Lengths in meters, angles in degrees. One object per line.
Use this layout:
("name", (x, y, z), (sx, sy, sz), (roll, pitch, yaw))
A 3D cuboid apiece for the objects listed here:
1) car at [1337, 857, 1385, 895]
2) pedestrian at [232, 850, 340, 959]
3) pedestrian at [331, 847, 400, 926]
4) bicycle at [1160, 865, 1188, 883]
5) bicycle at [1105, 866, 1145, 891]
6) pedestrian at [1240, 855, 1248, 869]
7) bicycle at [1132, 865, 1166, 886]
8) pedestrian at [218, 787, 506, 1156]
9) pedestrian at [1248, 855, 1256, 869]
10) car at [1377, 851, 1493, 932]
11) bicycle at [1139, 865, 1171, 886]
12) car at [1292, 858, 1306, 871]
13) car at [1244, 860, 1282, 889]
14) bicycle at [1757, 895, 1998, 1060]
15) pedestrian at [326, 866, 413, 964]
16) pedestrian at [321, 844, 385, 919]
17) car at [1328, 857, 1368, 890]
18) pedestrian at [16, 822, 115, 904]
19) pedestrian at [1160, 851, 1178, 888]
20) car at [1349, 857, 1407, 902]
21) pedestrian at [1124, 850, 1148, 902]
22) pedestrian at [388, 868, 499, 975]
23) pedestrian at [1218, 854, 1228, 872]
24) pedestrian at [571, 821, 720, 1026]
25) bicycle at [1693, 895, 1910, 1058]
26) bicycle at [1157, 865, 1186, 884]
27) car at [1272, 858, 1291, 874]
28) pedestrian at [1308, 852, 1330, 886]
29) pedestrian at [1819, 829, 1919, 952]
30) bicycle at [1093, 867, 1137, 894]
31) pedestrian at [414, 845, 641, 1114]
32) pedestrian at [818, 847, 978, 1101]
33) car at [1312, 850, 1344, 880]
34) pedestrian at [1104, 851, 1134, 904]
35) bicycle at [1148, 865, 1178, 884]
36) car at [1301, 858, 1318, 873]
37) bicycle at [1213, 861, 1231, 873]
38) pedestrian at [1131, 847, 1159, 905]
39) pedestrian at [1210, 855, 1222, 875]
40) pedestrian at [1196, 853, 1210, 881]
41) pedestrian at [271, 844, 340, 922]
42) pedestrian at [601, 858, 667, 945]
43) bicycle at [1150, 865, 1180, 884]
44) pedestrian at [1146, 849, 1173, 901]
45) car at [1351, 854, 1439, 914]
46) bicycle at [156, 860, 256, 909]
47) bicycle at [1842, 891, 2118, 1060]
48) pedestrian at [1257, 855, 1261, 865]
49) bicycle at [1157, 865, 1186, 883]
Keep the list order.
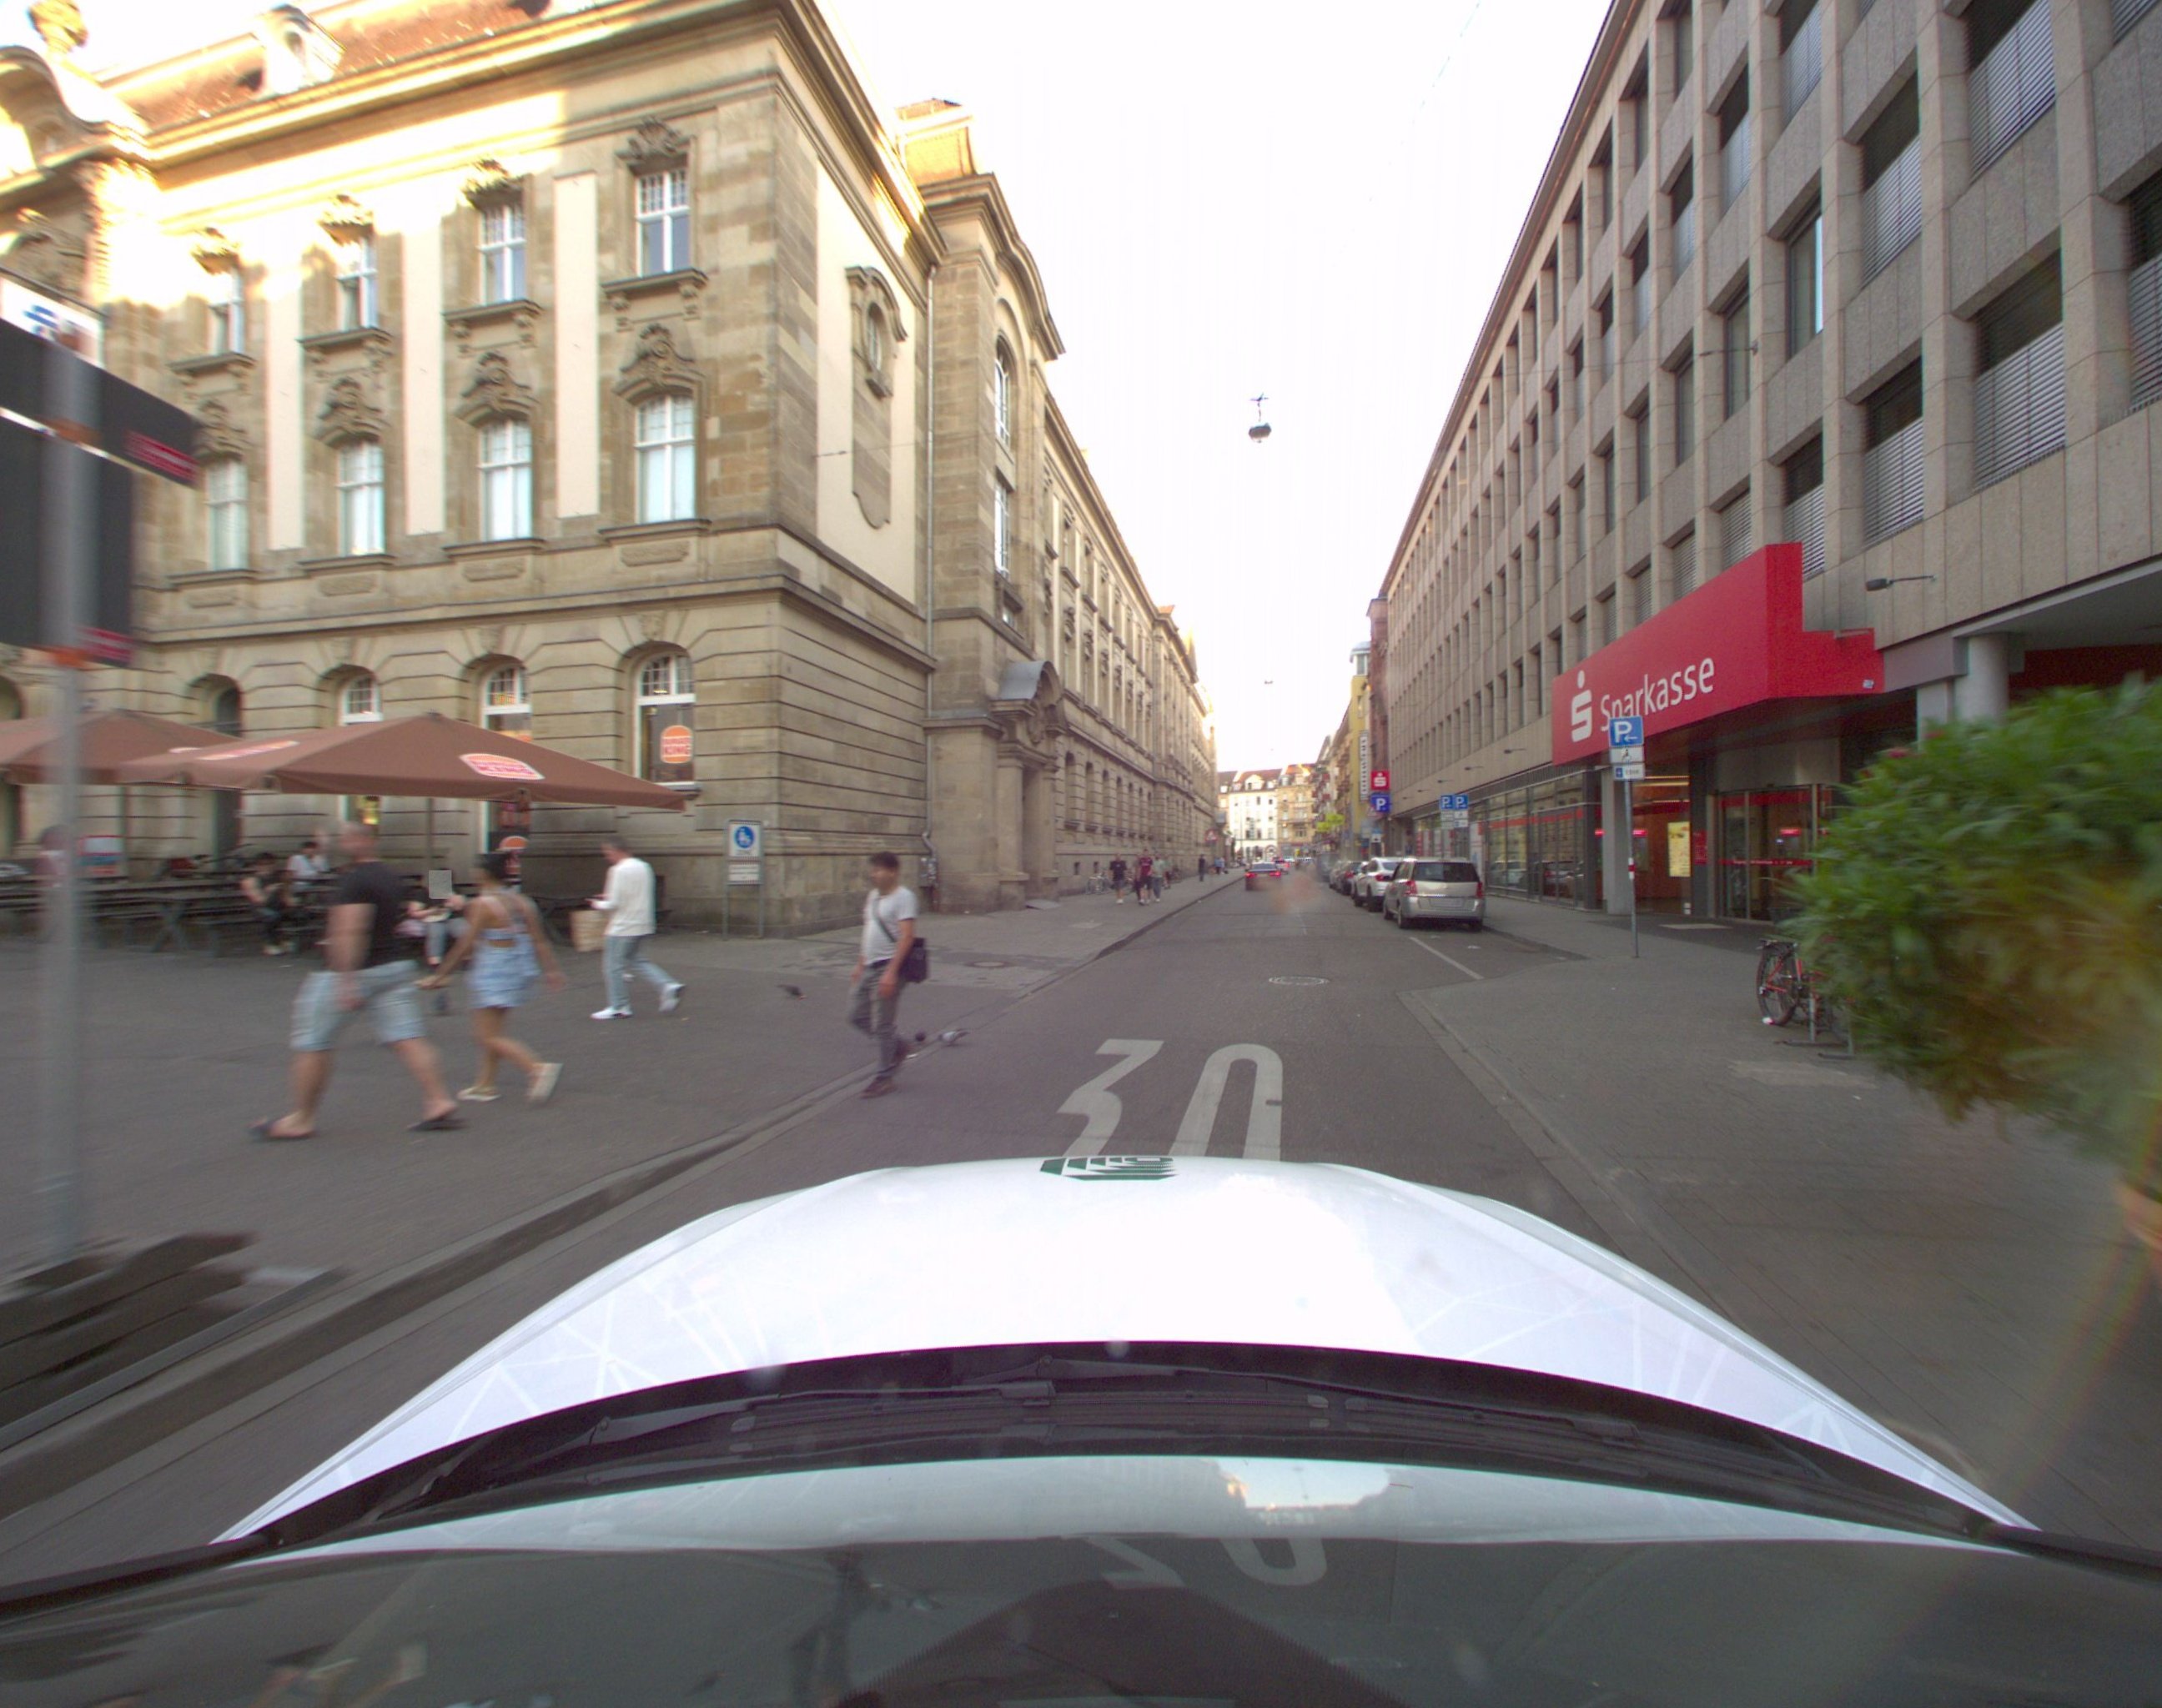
("car", (12.091, 0.926, 35.340), (1.633, 1.523, 3.296), (1, 0, 13))
("pedestrian", (-10.709, 0.661, 10.982), (0.645, 1.383, 0.810), (2, 0, 24))
("pedestrian", (-12.362, 0.544, 14.081), (0.603, 1.309, 0.611), (2, 0, 10))
("bicycle", (5.716, 1.226, 50.089), (1.668, 1.041, 0.489), (1, 0, 12))
("bicycle", (1.903, 1.049, 35.439), (1.676, 1.041, 0.486), (1, 0, -4))
("pedestrian", (21.678, 1.048, 108.482), (0.927, 1.752, 0.812), (3, 0, 10))
("bicycle", (3.531, 1.132, 42.200), (1.668, 1.041, 0.489), (1, 0, 12))
("pedestrian", (-3.976, 0.596, 4.570), (0.865, 1.840, 0.809), (0, -2, 13))
("pedestrian", (22.771, 1.037, 108.659), (0.927, 1.752, 0.812), (3, 0, 10))
("car", (8.131, 0.786, 19.076), (1.757, 1.636, 4.066), (1, 0, 13))
("bicycle", (3.947, 1.145, 43.412), (1.668, 1.041, 0.489), (1, 0, 12))
("car", (27.076, 1.340, 101.118), (1.633, 1.523, 3.296), (1, 0, 13))
("car", (9.410, 1.038, 42.050), (1.757, 1.409, 4.066), (-2, -1, 13))
("bicycle", (6.126, 0.887, 6.401), (0.555, 1.041, 1.691), (-2, -1, 15))
("pedestrian", (-9.403, 0.784, 10.773), (0.692, 1.226, 0.621), (2, -1, 28))
("pedestrian", (-13.237, 0.487, 14.811), (0.576, 1.309, 0.596), (2, 0, 12))
("car", (13.501, 0.957, 41.320), (1.633, 1.523, 3.296), (1, 0, 13))
("pedestrian", (-19.937, 0.173, 16.009), (0.848, 1.566, 0.846), (1, 0, -14))
("pedestrian", (4.294, 0.738, 39.657), (0.714, 1.752, 0.671), (3, 0, 11))
("car", (11.094, 0.909, 30.568), (1.633, 1.523, 3.296), (1, 0, 13))
("pedestrian", (1.917, 0.739, 28.267), (0.684, 1.752, 0.724), (3, 0, 11))
("pedestrian", (-8.024, 0.818, 10.262), (0.818, 1.243, 0.786), (2, 0, 27))
("pedestrian", (13.795, 0.861, 79.194), (0.802, 1.752, 0.939), (3, 0, 12))
("pedestrian", (-4.192, 0.625, 7.898), (0.866, 1.839, 0.869), (2, 0, 8))
("bicycle", (5.629, 0.897, 6.498), (0.555, 1.041, 1.691), (-2, -1, 15))
("bicycle", (5.382, 1.203, 48.364), (1.668, 1.041, 0.489), (1, 0, 12))
("car", (19.642, 1.139, 79.854), (1.782, 1.510, 4.014), (0, 0, 13))
("pedestrian", (12.598, 0.774, 43.082), (0.824, 1.791, 0.720), (-1, -1, -25))
("pedestrian", (11.173, 0.500, 11.569), (0.701, 1.661, 0.694), (-2, -1, -6))
("bicycle", (1.374, 1.058, 32.643), (1.666, 1.041, 0.489), (1, 0, 19))
("pedestrian", (-3.560, 0.750, 5.305), (0.865, 1.582, 0.809), (0, -2, 13))
("pedestrian", (-1.292, 0.794, 5.855), (0.723, 1.646, 0.877), (-1, -2, 23))
("car", (17.412, 0.748, 57.528), (1.857, 2.018, 3.779), (1, 0, 13))
("pedestrian", (1.260, 0.749, 26.866), (0.792, 1.675, 0.978), (3, 0, 11))
("bicycle", (4.716, 1.186, 46.675), (1.668, 1.041, 0.489), (1, 0, 12))
("car", (24.321, 1.228, 86.834), (1.633, 1.523, 3.296), (1, 0, 13))
("bicycle", (13.872, 1.288, 79.970), (1.667, 1.041, 0.489), (3, 0, 14))
("pedestrian", (2.102, 0.712, 26.638), (0.693, 1.812, 0.978), (3, 0, 11))
("pedestrian", (11.523, 0.930, 69.332), (0.927, 1.636, 0.656), (3, 0, 11))
("pedestrian", (7.997, 0.834, 53.327), (0.798, 1.752, 0.812), (3, 0, 11))
("pedestrian", (-13.462, 0.490, 14.152), (0.576, 1.309, 0.595), (2, 0, 10))
("pedestrian", (-7.256, 0.743, 13.227), (0.763, 1.308, 0.669), (4, 2, 38))
("bicycle", (4.882, 1.190, 47.106), (1.668, 1.041, 0.489), (1, 0, 12))
("pedestrian", (2.761, 0.733, 28.559), (0.781, 1.752, 0.724), (3, 0, 11))
("car", (9.446, 0.829, 24.828), (1.759, 1.636, 4.102), (1, 0, 10))
("bicycle", (-17.168, 0.579, 16.013), (0.406, 0.894, 1.326), (0, 1, 10))
("bicycle", (6.758, 0.851, 6.261), (0.555, 1.041, 1.691), (-2, -1, 15))
("pedestrian", (31.530, 1.083, 144.457), (0.661, 1.752, 0.683), (3, 0, 10))
("bicycle", (5.450, 1.210, 48.826), (1.668, 1.041, 0.489), (1, 0, 12))
